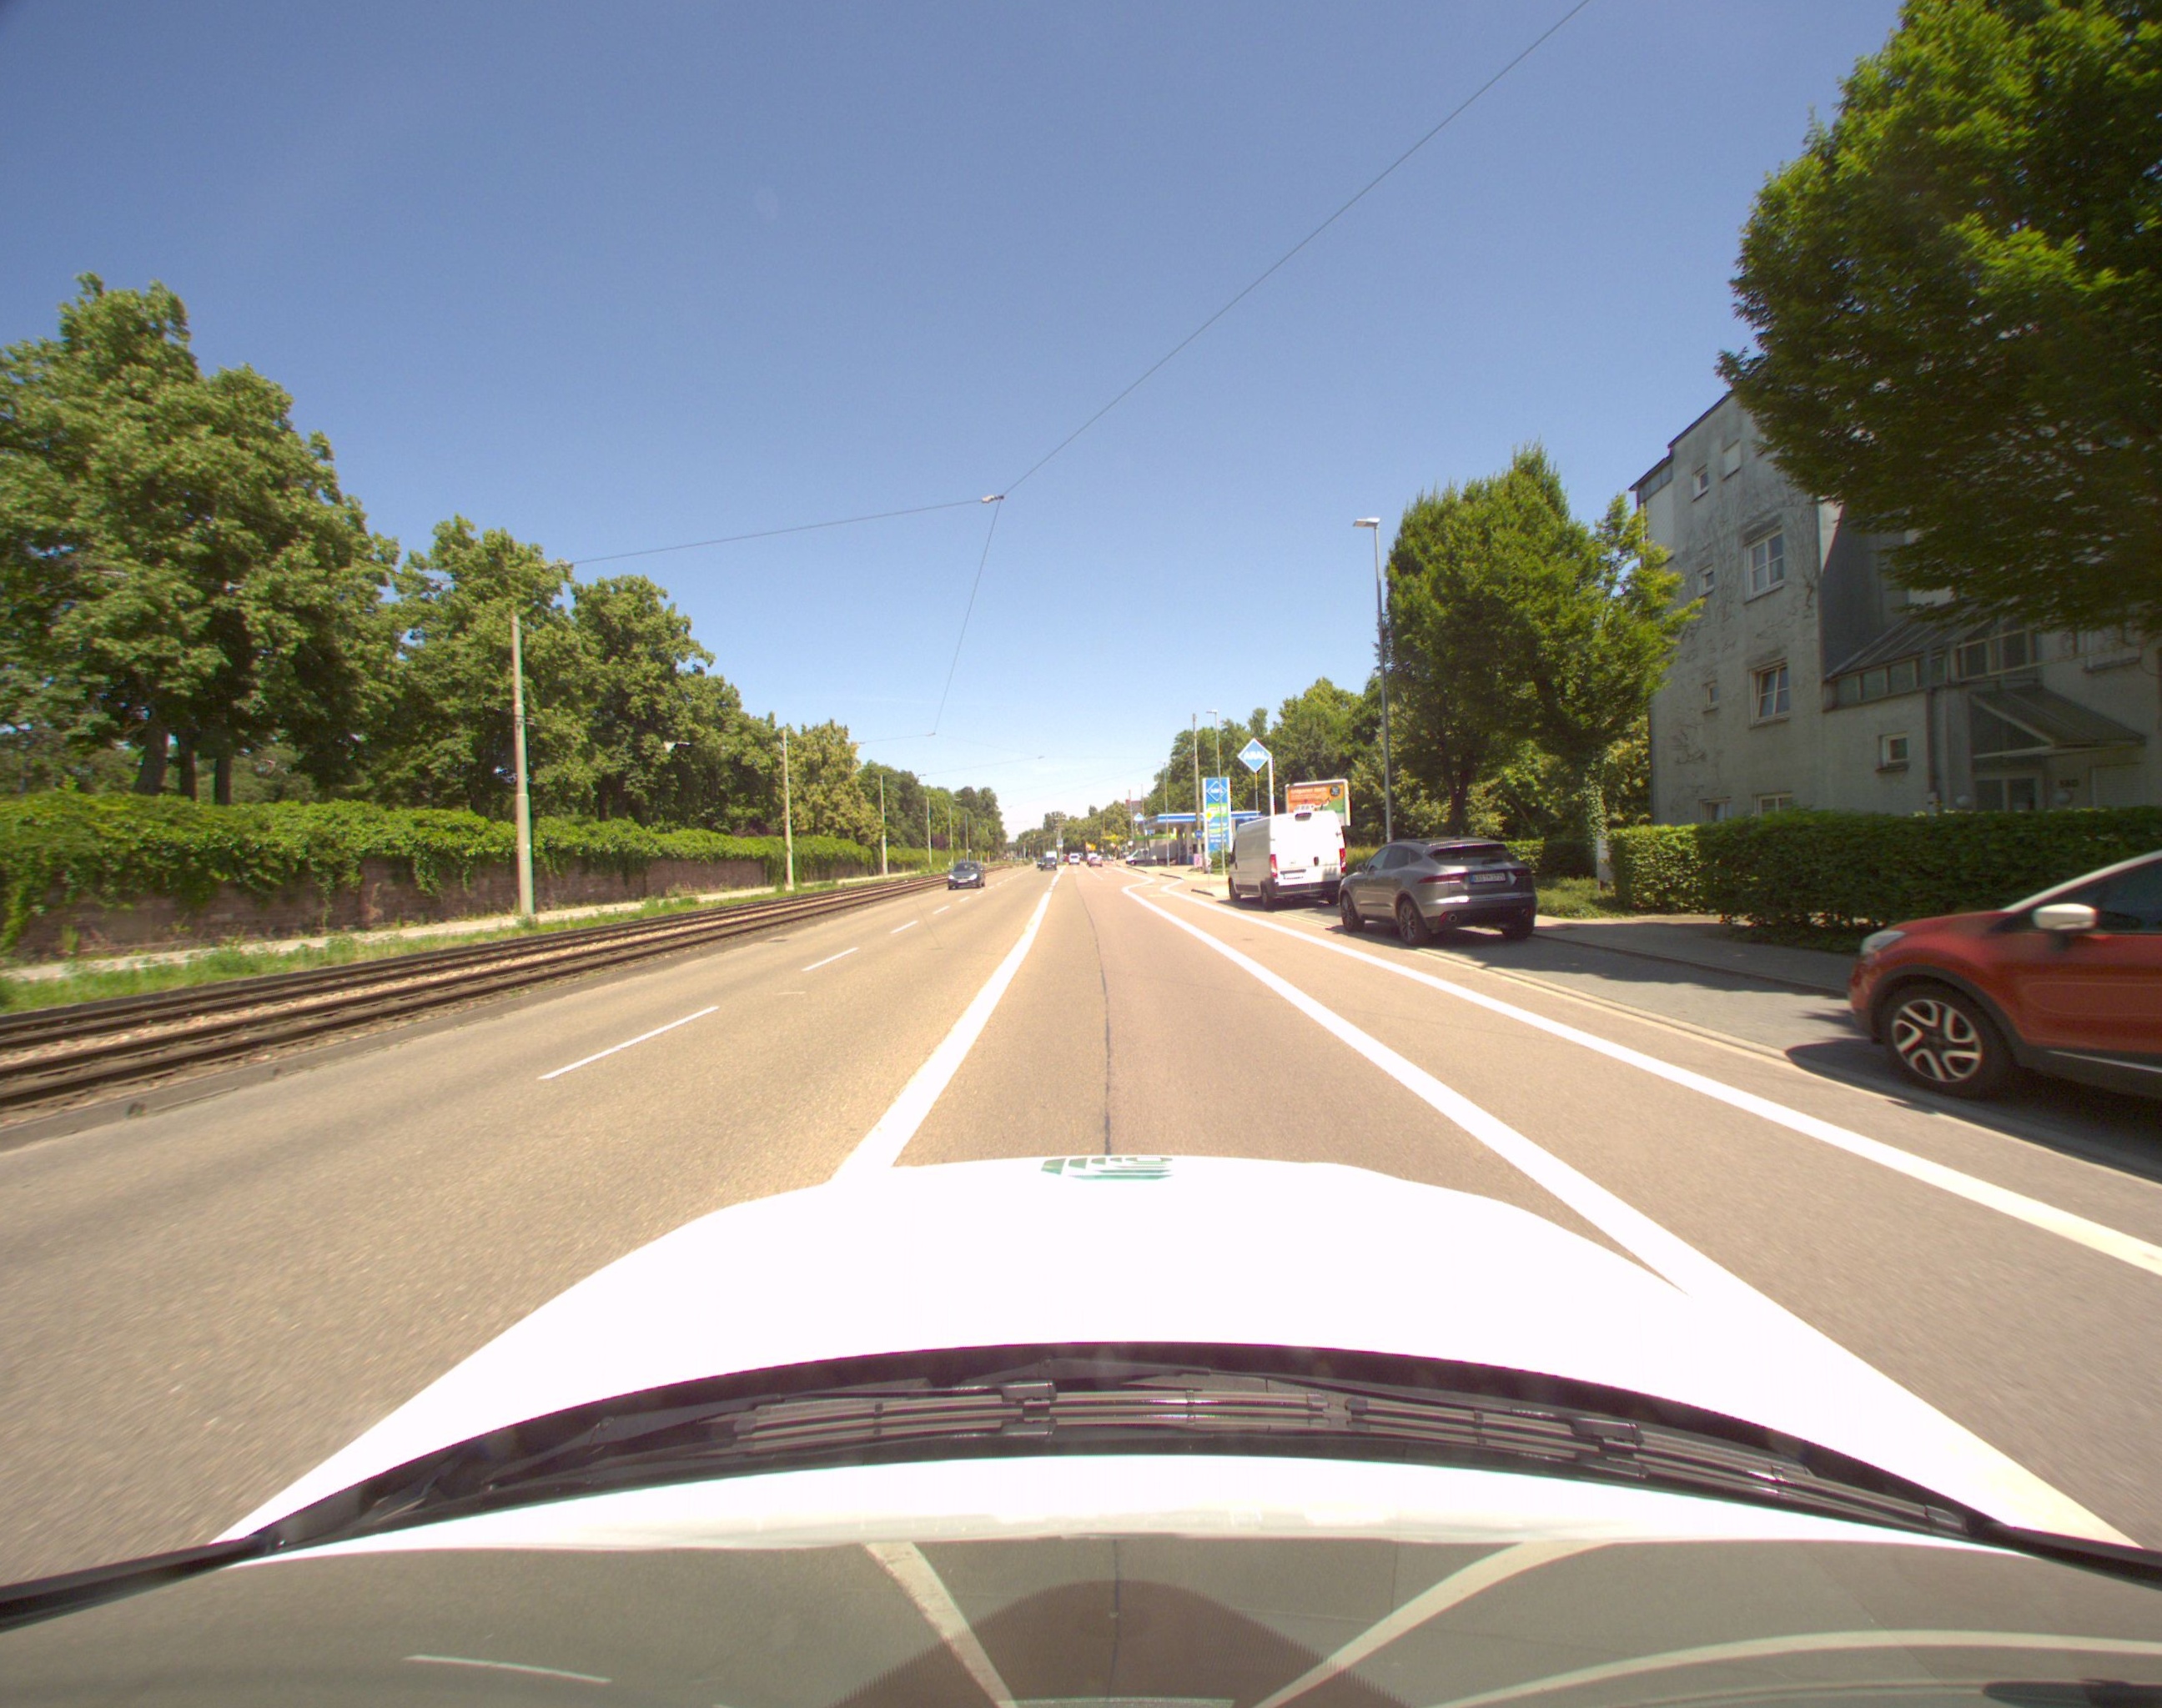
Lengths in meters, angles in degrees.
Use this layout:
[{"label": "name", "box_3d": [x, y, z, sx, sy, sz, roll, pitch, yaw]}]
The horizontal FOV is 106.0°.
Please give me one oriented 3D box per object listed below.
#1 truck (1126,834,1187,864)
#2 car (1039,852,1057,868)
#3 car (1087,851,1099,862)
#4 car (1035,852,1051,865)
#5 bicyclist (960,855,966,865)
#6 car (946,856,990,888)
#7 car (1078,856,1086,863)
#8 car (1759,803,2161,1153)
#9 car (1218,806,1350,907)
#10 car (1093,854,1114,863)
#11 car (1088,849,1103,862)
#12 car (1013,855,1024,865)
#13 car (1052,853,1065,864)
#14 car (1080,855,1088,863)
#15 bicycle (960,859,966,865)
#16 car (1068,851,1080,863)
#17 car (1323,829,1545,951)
[{"label": "truck", "box_3d": [10.031, -0.645, 108.189, 7.931, 3.602, 2.666, -2, 0, 4]}, {"label": "car", "box_3d": [-3.560, 0.633, 88.796, 1.751, 1.630, 4.321, -4, 0, -1]}, {"label": "car", "box_3d": [2.019, 0.392, 135.011, 1.751, 1.630, 4.321, -4, 0, -1]}, {"label": "car", "box_3d": [-5.246, 0.619, 112.149, 1.754, 1.630, 4.314, -4, 0, -6]}, {"label": "bicyclist", "box_3d": [-20.863, 1.037, 143.883, 0.679, 1.574, 0.795, -7, -1, -1]}, {"label": "car", "box_3d": [-6.091, 0.947, 44.372, 1.751, 1.509, 4.321, -4, 0, -1]}, {"label": "car", "box_3d": [0.333, 1.500, 208.165, 1.751, 1.630, 4.321, -4, 0, -1]}, {"label": "car", "box_3d": [5.801, 0.542, 3.732, 1.701, 1.562, 4.323, -4, 0, 0]}, {"label": "car", "box_3d": [5.737, 0.061, 24.029, 1.996, 2.456, 6.104, -4, 0, -2]}, {"label": "car", "box_3d": [5.112, 0.948, 182.582, 4.274, 1.630, 1.770, -4, 0, 18]}, {"label": "car", "box_3d": [1.955, 0.200, 112.067, 1.751, 1.630, 4.321, -4, 0, -1]}, {"label": "car", "box_3d": [-11.252, 1.096, 146.617, 1.754, 1.630, 4.314, -4, 0, -6]}, {"label": "car", "box_3d": [-3.636, 0.714, 131.692, 1.750, 1.630, 4.324, -4, 0, 0]}, {"label": "car", "box_3d": [0.657, 1.165, 191.366, 1.751, 1.630, 4.321, -4, 0, -1]}, {"label": "bicycle", "box_3d": [-20.830, 1.408, 143.868, 0.679, 1.054, 2.008, -7, -1, -1]}, {"label": "car", "box_3d": [-1.147, 0.492, 134.031, 1.751, 1.874, 4.321, -4, 0, -1]}, {"label": "car", "box_3d": [5.758, 0.515, 13.961, 1.751, 1.630, 4.321, -4, 0, -1]}]
